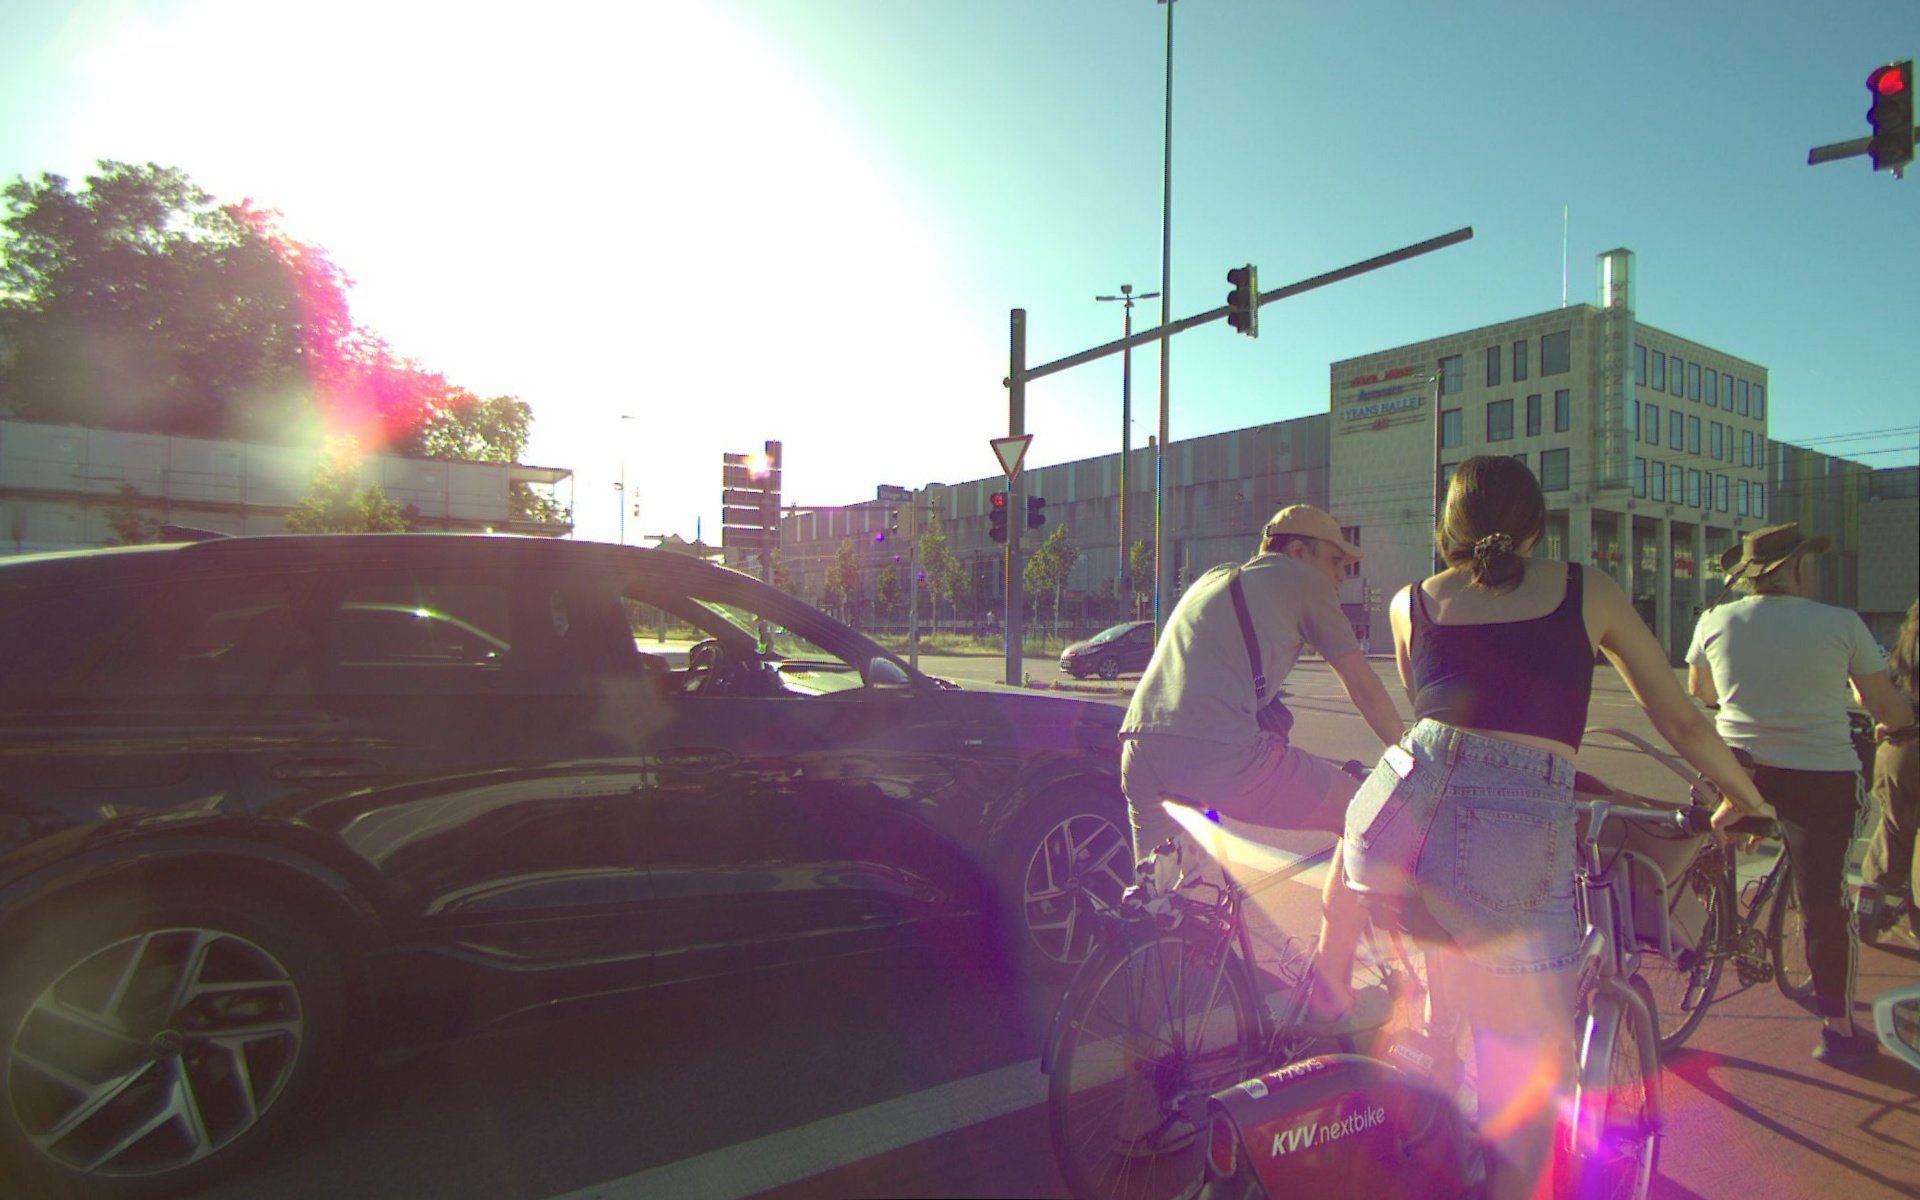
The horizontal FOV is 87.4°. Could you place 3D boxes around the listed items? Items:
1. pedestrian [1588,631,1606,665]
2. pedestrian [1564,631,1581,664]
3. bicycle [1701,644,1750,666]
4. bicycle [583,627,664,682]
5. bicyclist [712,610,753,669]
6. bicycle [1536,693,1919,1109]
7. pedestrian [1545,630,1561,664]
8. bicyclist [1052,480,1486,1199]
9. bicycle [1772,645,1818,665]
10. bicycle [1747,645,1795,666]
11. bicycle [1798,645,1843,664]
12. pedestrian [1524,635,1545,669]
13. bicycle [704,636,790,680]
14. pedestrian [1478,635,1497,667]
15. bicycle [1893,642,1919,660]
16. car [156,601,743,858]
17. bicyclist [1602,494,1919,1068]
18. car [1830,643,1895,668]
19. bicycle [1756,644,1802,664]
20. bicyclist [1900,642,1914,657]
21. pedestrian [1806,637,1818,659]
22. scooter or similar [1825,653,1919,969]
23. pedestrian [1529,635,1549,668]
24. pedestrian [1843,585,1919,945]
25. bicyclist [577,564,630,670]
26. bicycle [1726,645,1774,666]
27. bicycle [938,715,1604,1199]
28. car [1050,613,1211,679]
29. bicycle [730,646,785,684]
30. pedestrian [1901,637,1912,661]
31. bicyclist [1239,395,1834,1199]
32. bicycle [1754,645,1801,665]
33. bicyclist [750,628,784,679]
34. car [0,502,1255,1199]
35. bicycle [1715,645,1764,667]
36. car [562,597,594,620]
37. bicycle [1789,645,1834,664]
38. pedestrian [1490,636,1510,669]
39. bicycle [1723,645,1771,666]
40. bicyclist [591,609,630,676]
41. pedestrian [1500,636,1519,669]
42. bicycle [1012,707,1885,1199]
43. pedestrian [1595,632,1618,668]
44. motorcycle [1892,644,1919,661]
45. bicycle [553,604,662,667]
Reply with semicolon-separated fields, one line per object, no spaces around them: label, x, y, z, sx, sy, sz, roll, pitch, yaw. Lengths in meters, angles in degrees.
pedestrian;35.872;2.702;56.586;0.784;1.868;0.863;0;-1;28
pedestrian;35.571;2.735;58.332;0.784;1.868;0.862;0;-1;32
bicycle;45.762;3.297;60.086;0.605;1.238;2.295;1;-1;-31
bicycle;-7.571;1.224;22.641;1.632;1.170;0.493;2;0;-32
bicyclist;-8.202;1.406;36.214;1.078;2.040;0.961;2;0;15
bicycle;2.881;0.964;3.681;1.810;1.171;0.482;2;0;-31
pedestrian;34.287;2.699;58.060;0.705;1.910;0.785;2;0;33
bicyclist;0.805;0.562;2.675;0.833;1.627;0.712;1;0;-32
bicycle;55.519;3.628;66.832;0.605;1.238;2.295;1;-1;-31
bicycle;51.277;3.482;63.554;0.605;1.238;2.295;1;-1;-31
bicycle;59.823;3.774;69.855;0.605;1.238;2.295;1;-1;-31
pedestrian;33.396;3.015;58.379;0.710;1.910;0.779;2;0;-36
bicycle;-7.643;2.058;36.056;2.905;1.388;0.970;2;0;16
pedestrian;32.313;3.117;61.515;0.710;1.910;0.779;2;0;-36
bicycle;69.048;3.736;72.934;1.776;1.223;0.511;1;0;25
car;-3.584;0.793;7.497;3.562;1.505;1.485;1;0;-30
bicyclist;2.871;0.559;3.555;0.856;1.743;0.657;2;0;-30
car;49.783;3.070;55.412;3.956;1.359;1.621;2;-4;-32
bicycle;54.280;3.589;66.569;0.605;1.238;2.295;1;-1;-31
bicyclist;68.850;3.588;73.018;0.613;1.099;0.511;1;0;26
pedestrian;65.188;3.659;76.849;0.602;1.702;0.549;1;0;-40
scooter or similar;4.493;0.929;4.716;1.186;1.311;0.541;2;0;-45
pedestrian;34.406;3.053;59.691;0.710;1.910;0.779;2;0;-36
pedestrian;4.634;0.765;4.808;0.568;1.654;0.543;2;0;-45
bicyclist;-10.799;0.510;30.391;1.292;3.144;0.835;2;0;-32
bicycle;48.696;3.396;61.962;0.605;1.238;2.295;1;-1;-31
bicycle;0.942;0.956;2.772;1.949;1.124;0.643;1;0;-33
car;4.408;1.172;25.966;3.842;1.606;1.650;2;-2;-23
bicycle;-8.570;2.723;42.413;0.962;1.388;2.930;2;0;-40
pedestrian;71.096;3.679;75.459;0.579;1.702;0.516;1;1;-43
bicyclist;1.089;0.516;1.920;0.866;1.600;0.638;1;0;-33
bicycle;52.901;3.539;65.021;0.605;1.238;2.295;1;-1;-31
bicyclist;-8.037;2.209;41.826;0.985;2.040;1.088;2;0;-40
car;-1.152;0.635;3.872;4.630;1.656;1.760;1;0;-32
bicycle;46.964;3.336;60.530;0.605;1.238;2.295;1;-1;-31
car;-32.938;0.737;86.513;1.785;1.908;3.964;2;0;-33
bicycle;58.851;3.742;69.431;0.605;1.238;2.295;1;-1;-31
pedestrian;32.162;3.137;59.870;0.710;1.910;0.779;2;0;-36
bicycle;48.046;3.373;61.341;0.605;1.238;2.295;1;-1;-31
bicyclist;-7.815;0.941;22.487;0.705;1.456;0.493;2;0;-32
pedestrian;33.223;3.174;60.692;0.780;1.910;0.709;2;0;-37
bicycle;1.008;0.885;1.879;1.811;1.234;0.612;1;0;-33
pedestrian;37.080;2.851;57.613;0.767;2.040;0.876;2;0;-41
motorcycle;70.738;3.916;74.859;0.508;1.223;1.786;1;0;-44
bicycle;-10.667;1.032;30.467;3.047;1.835;0.835;0;1;-32
